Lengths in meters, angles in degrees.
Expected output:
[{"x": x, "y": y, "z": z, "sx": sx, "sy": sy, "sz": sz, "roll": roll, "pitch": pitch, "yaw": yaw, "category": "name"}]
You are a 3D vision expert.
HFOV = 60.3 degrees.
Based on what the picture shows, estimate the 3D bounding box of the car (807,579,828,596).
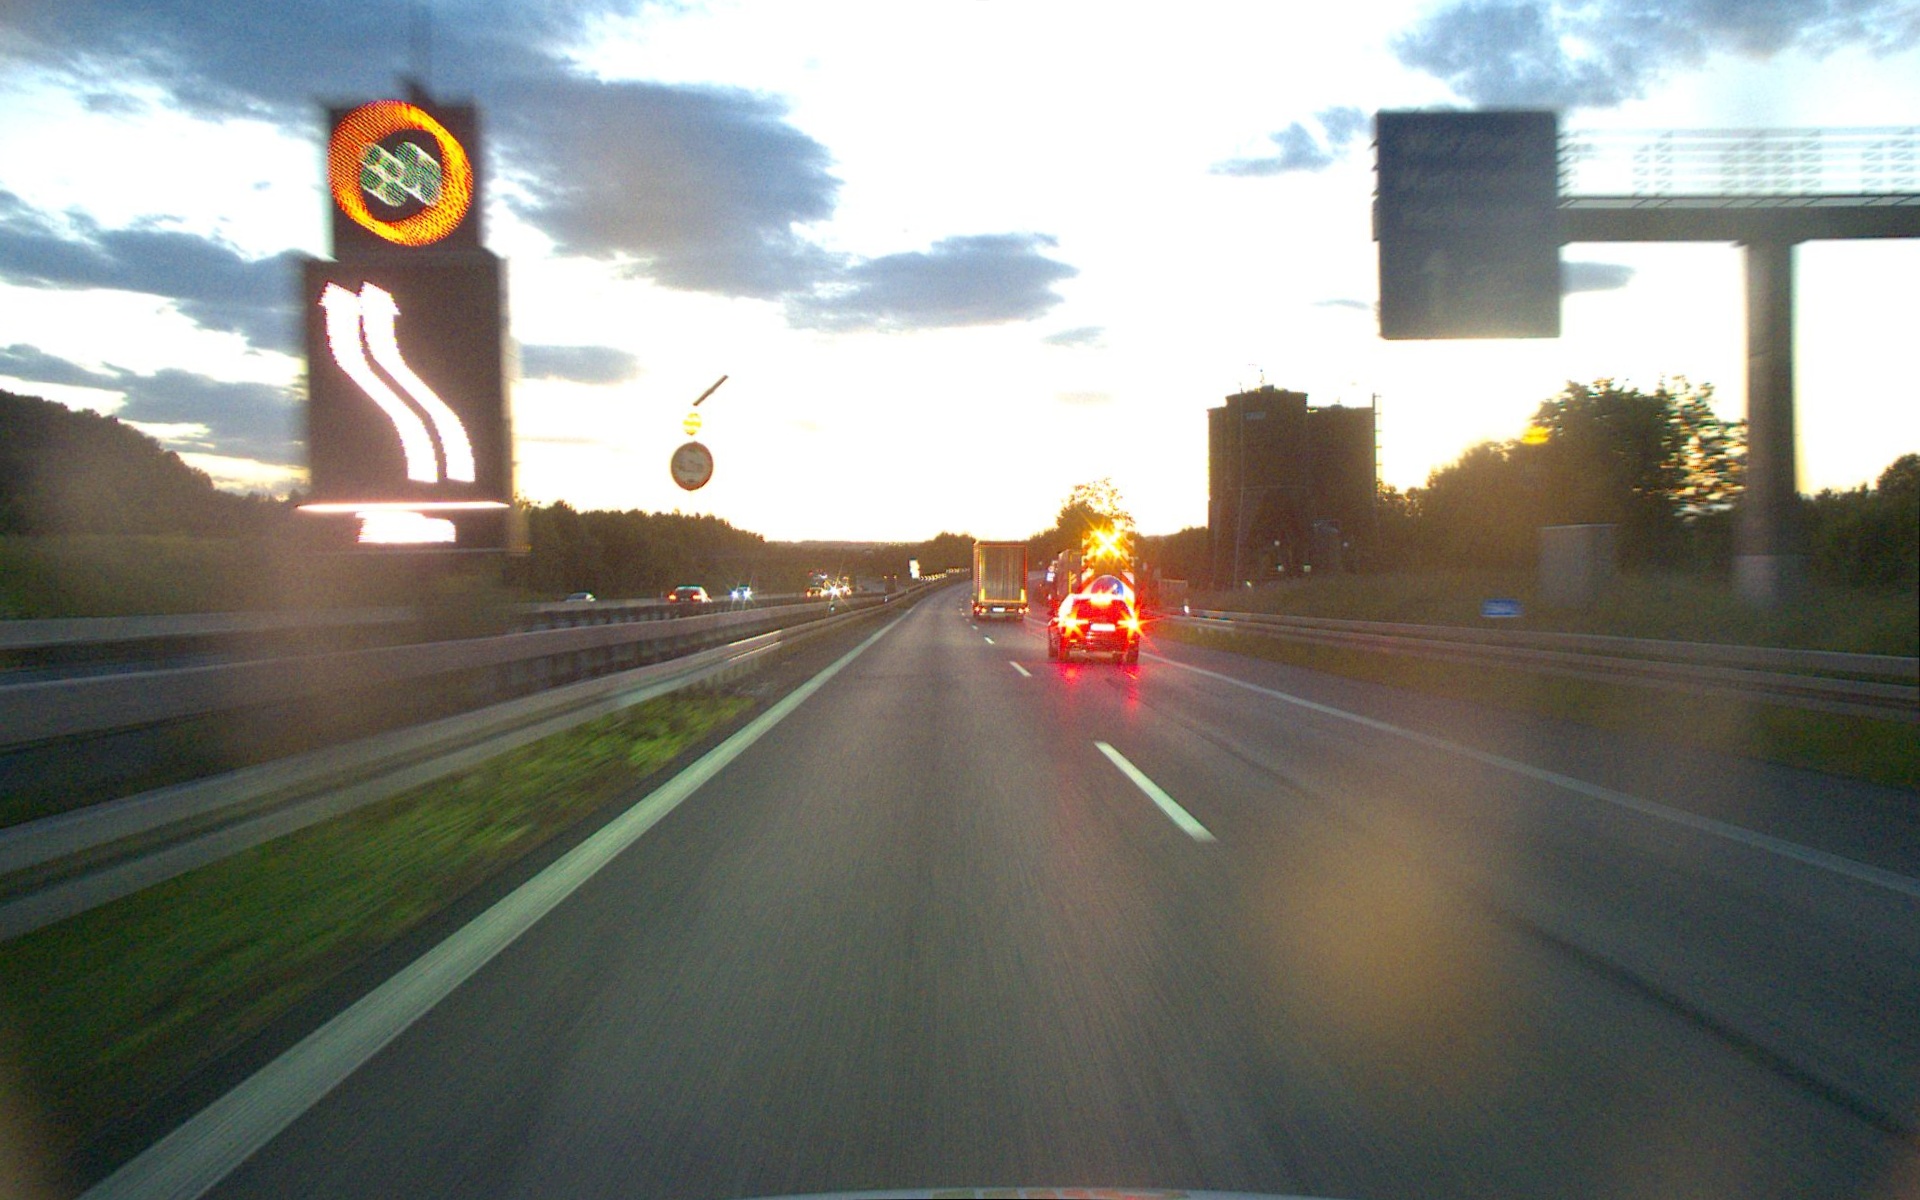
[{"x": -13.918, "y": -1.205, "z": 161.878, "sx": 1.678, "sy": 1.633, "sz": 3.721, "roll": -2, "pitch": 0, "yaw": -1, "category": "car"}]

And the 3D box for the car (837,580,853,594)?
[{"x": -13.975, "y": -1.553, "z": 201.131, "sx": 1.604, "sy": 1.573, "sz": 3.395, "roll": -2, "pitch": 0, "yaw": 0, "category": "car"}]

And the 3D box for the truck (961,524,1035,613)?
[{"x": 1.904, "y": -1.619, "z": 88.238, "sx": 3.439, "sy": 4.376, "sz": 9.889, "roll": -2, "pitch": 0, "yaw": -1, "category": "truck"}]

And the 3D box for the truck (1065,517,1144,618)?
[{"x": 6.137, "y": -1.365, "z": 71.214, "sx": 2.731, "sy": 4.129, "sz": 6.410, "roll": 0, "pitch": 1, "yaw": -1, "category": "truck"}]

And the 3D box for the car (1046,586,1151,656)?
[{"x": 3.046, "y": 0.431, "z": 37.157, "sx": 1.876, "sy": 1.467, "sz": 3.998, "roll": -1, "pitch": 0, "yaw": -2, "category": "car"}]

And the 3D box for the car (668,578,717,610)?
[{"x": -13.863, "y": -0.315, "z": 85.972, "sx": 1.834, "sy": 1.588, "sz": 4.519, "roll": -2, "pitch": 0, "yaw": -1, "category": "car"}]

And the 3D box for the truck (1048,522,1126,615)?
[{"x": 5.964, "y": -1.474, "z": 78.991, "sx": 2.854, "sy": 4.183, "sz": 9.148, "roll": 0, "pitch": 1, "yaw": -1, "category": "truck"}]
